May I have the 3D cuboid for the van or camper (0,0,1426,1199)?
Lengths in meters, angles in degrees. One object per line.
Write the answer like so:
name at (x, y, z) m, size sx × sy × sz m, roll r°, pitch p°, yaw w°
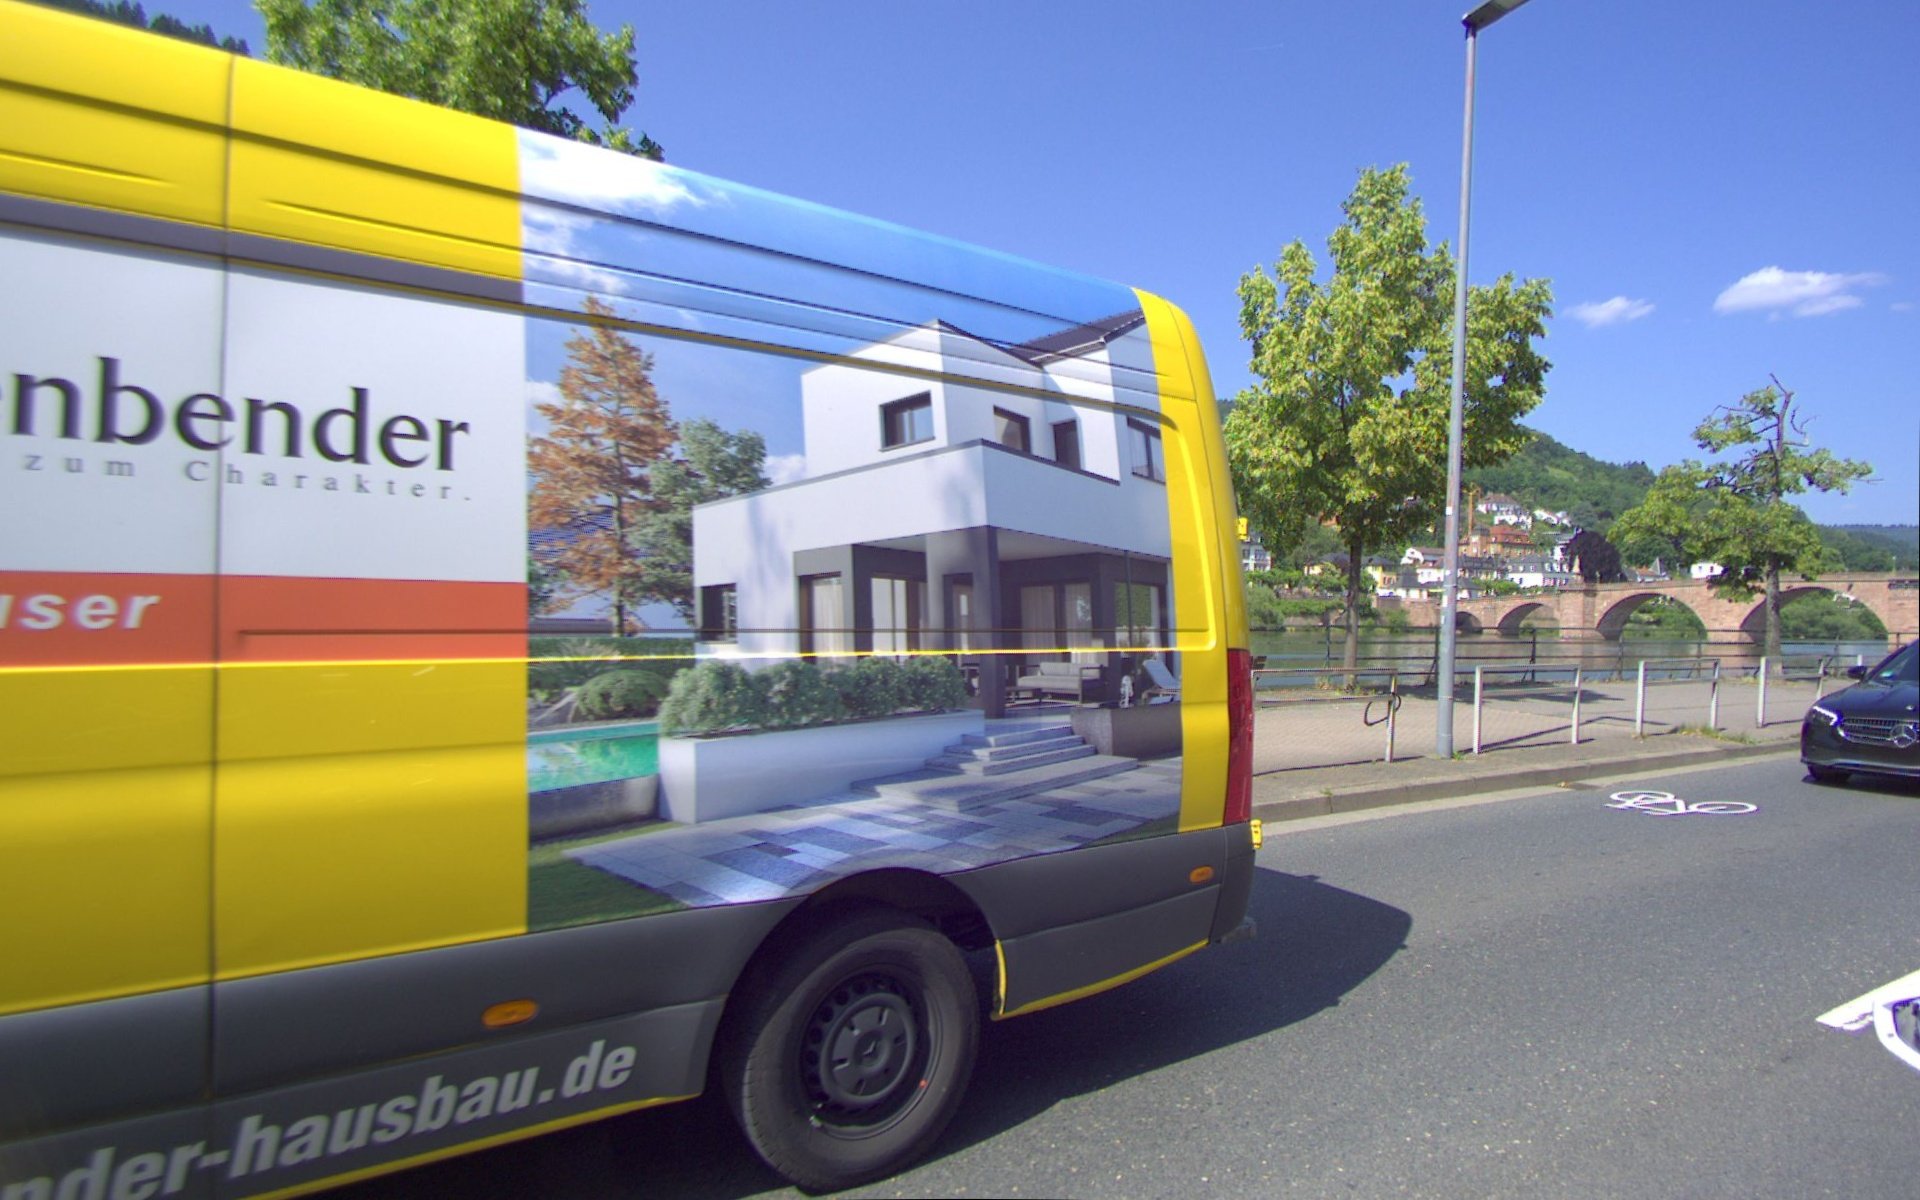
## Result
van or camper at (-1.836, 0.142, 2.630) m, size 7.015 × 2.591 × 2.075 m, roll 2°, pitch 0°, yaw -33°

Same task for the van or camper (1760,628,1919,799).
van or camper at (10.205, 1.043, 10.057) m, size 4.629 × 1.474 × 1.983 m, roll 2°, pitch -2°, yaw -31°

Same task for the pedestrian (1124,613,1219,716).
pedestrian at (2.826, 0.842, 13.476) m, size 0.838 × 1.298 × 0.934 m, roll 1°, pitch 0°, yaw -24°

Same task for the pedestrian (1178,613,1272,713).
pedestrian at (3.640, 0.847, 13.860) m, size 0.838 × 1.298 × 0.934 m, roll 1°, pitch 0°, yaw -24°
